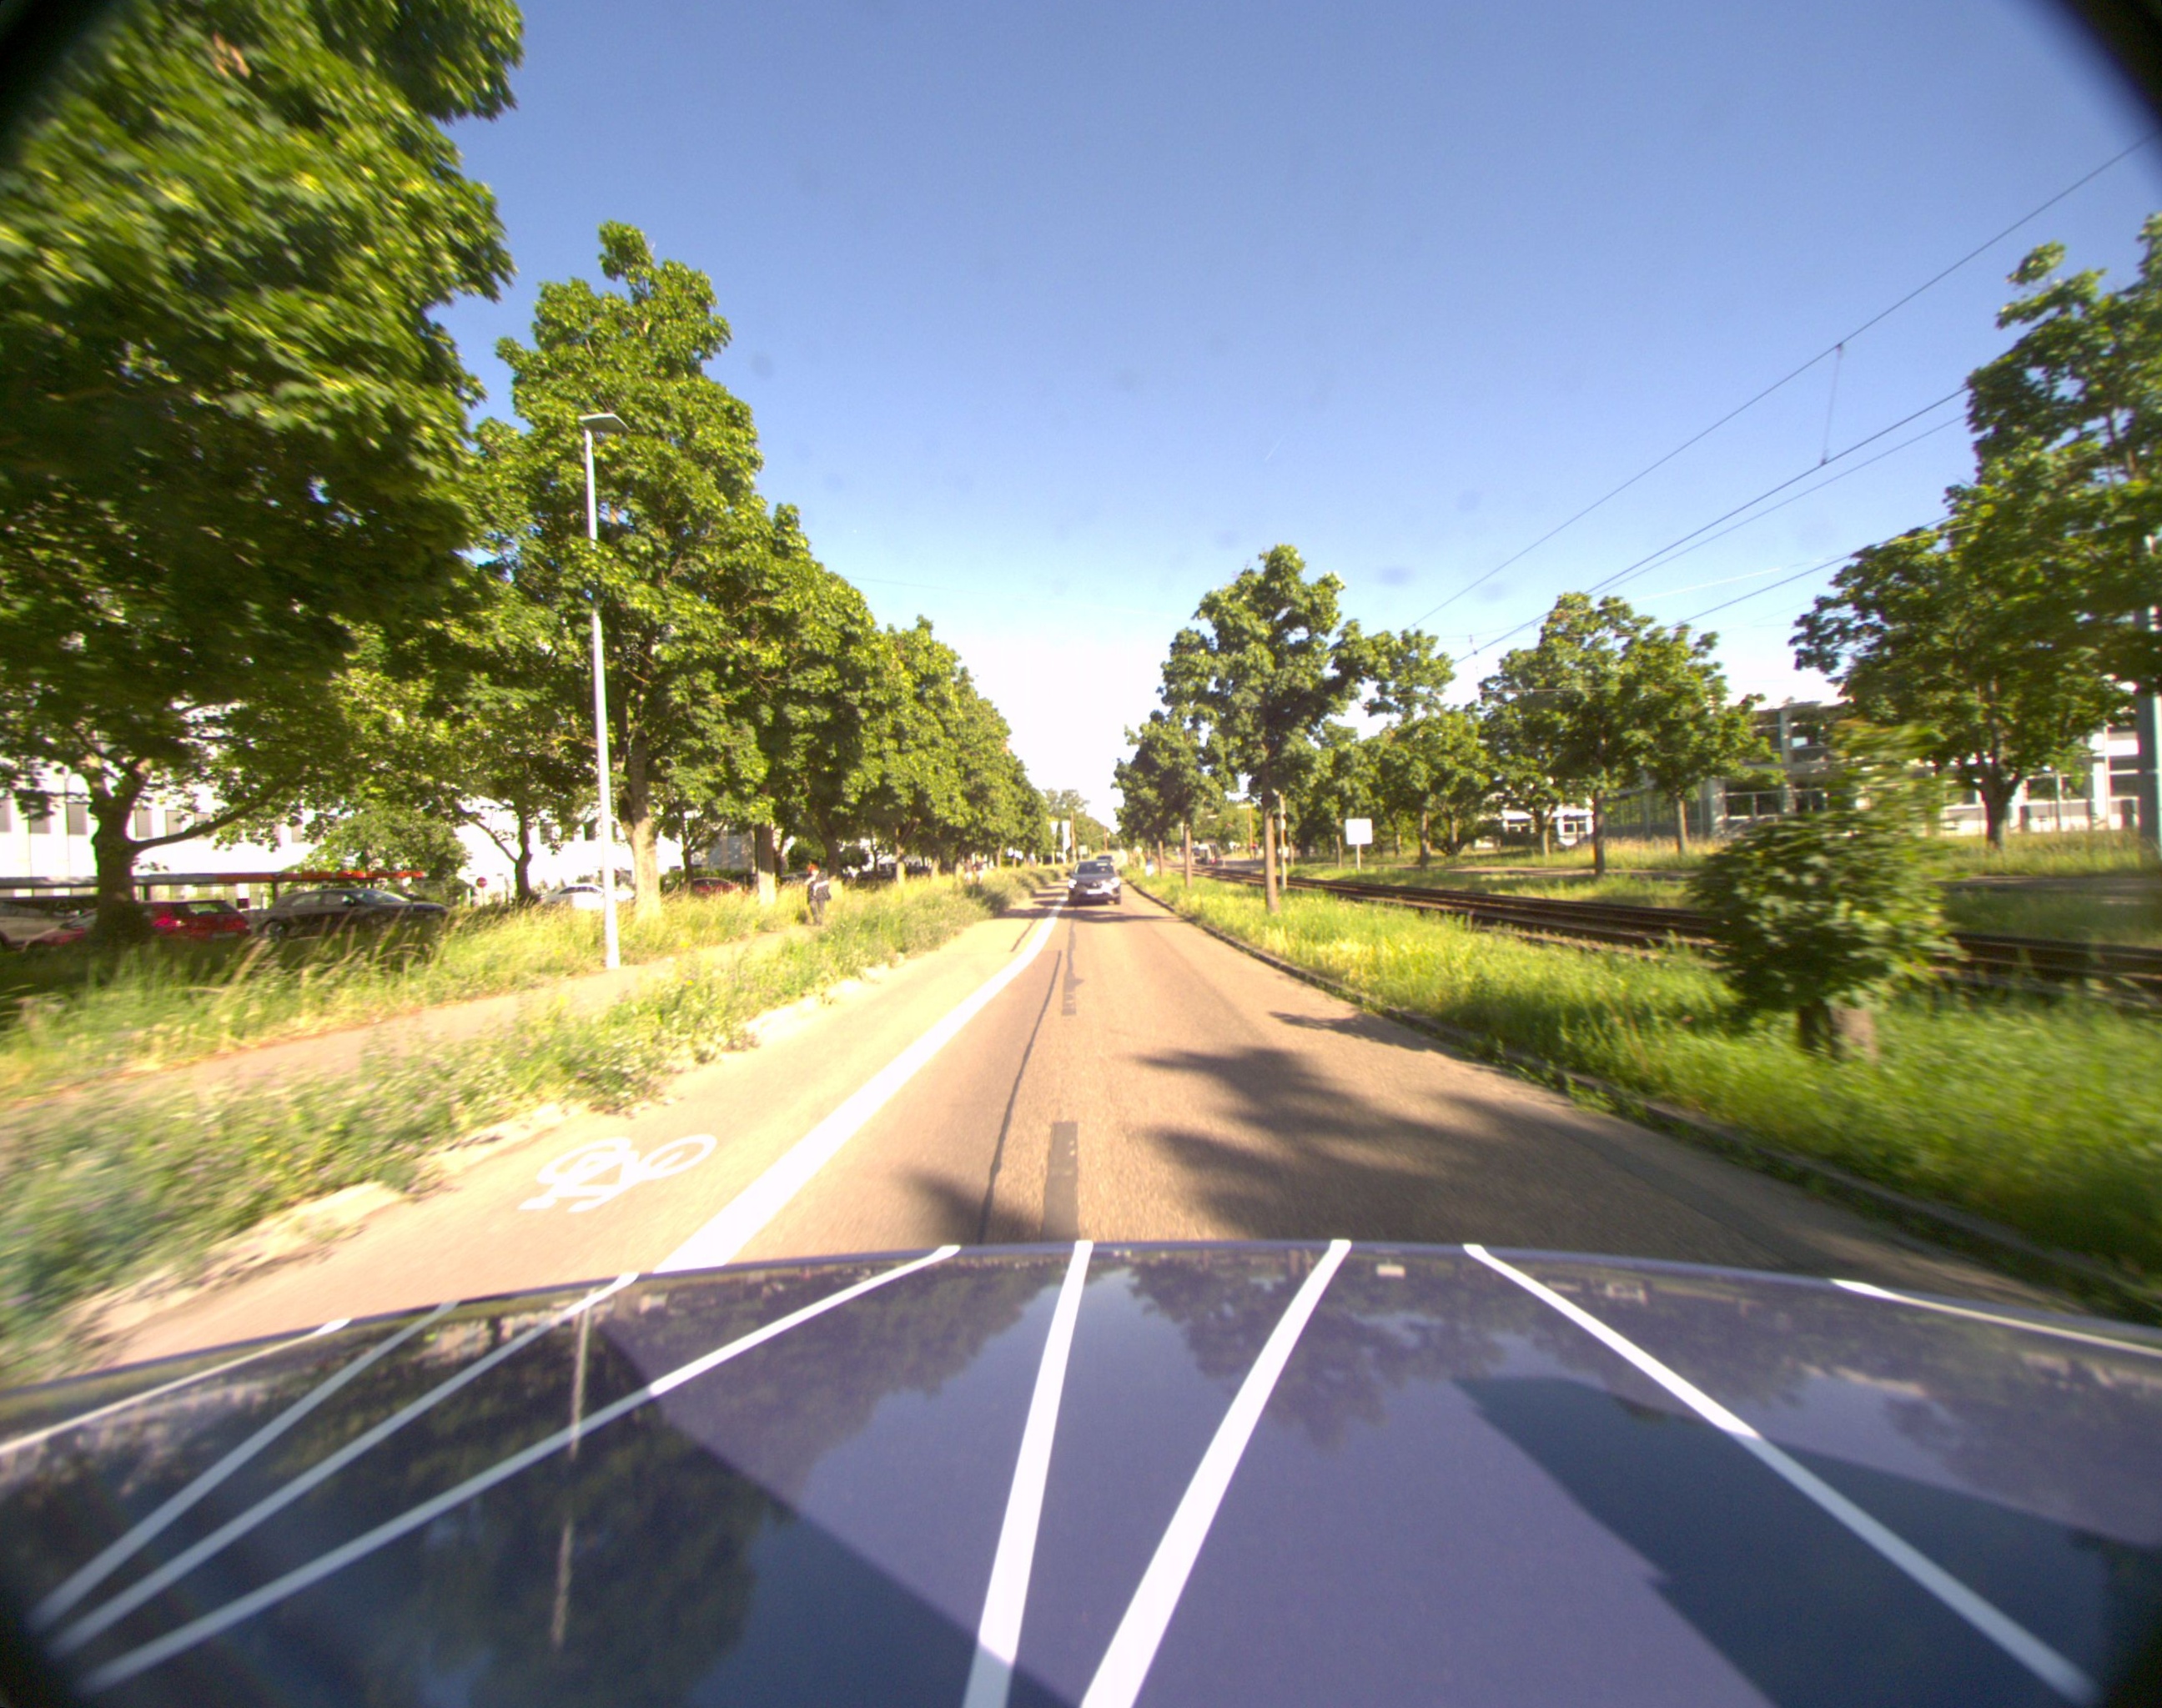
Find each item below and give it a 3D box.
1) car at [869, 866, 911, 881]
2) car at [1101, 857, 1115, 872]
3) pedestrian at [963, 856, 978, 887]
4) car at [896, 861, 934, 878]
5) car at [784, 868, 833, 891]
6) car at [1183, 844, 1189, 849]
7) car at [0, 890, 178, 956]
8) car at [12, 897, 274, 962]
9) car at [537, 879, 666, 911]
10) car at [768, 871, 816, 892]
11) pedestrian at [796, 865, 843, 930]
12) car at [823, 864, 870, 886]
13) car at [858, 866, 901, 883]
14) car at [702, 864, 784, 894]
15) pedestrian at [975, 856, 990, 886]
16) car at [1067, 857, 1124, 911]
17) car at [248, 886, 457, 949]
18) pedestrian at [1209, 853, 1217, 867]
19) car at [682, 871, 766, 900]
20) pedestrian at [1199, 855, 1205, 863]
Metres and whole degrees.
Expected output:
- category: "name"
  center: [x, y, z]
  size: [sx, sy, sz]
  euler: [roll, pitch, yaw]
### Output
- category: "car"
  center: [-20.719, 2.140, 82.364]
  size: [4.537, 1.440, 1.851]
  euler: [-3, 0, 37]
- category: "car"
  center: [3.288, 1.234, 92.043]
  size: [1.555, 1.764, 3.457]
  euler: [-2, 0, 1]
- category: "pedestrian"
  center: [-7.212, 1.128, 49.484]
  size: [0.709, 1.919, 0.817]
  euler: [-3, 0, 5]
- category: "car"
  center: [-20.349, 1.888, 93.119]
  size: [2.084, 1.865, 5.173]
  euler: [-3, 0, -43]
- category: "car"
  center: [-21.148, 1.961, 58.888]
  size: [3.977, 1.629, 1.727]
  euler: [-3, 0, 41]
- category: "car"
  center: [34.342, -2.495, 248.911]
  size: [1.701, 1.575, 3.457]
  euler: [-2, 0, 1]
- category: "car"
  center: [-34.357, 2.332, 25.896]
  size: [4.761, 1.938, 1.974]
  euler: [-2, 0, 1]
- category: "car"
  center: [-22.639, 1.800, 18.437]
  size: [4.301, 1.316, 1.941]
  euler: [-2, -1, 6]
- category: "car"
  center: [-21.818, 1.848, 34.707]
  size: [4.710, 1.263, 1.807]
  euler: [-2, -1, -1]
- category: "car"
  center: [-21.086, 2.024, 55.386]
  size: [3.977, 1.333, 1.712]
  euler: [-3, 0, 44]
- category: "pedestrian"
  center: [-6.608, 1.088, 19.232]
  size: [0.826, 1.560, 0.762]
  euler: [-3, 0, 2]
- category: "car"
  center: [-20.865, 1.907, 67.502]
  size: [1.922, 1.741, 5.442]
  euler: [-3, 0, -41]
- category: "car"
  center: [-20.960, 2.152, 78.899]
  size: [4.537, 1.506, 1.851]
  euler: [-3, 0, 37]
- category: "car"
  center: [-21.459, 1.559, 48.374]
  size: [4.349, 1.690, 1.765]
  euler: [-2, 0, -8]
- category: "pedestrian"
  center: [-6.411, 1.090, 49.520]
  size: [0.709, 1.906, 0.817]
  euler: [-3, 0, 2]
- category: "car"
  center: [0.513, 0.973, 26.581]
  size: [1.750, 1.585, 4.246]
  euler: [-3, 1, 1]
- category: "car"
  center: [-22.162, 1.890, 23.259]
  size: [4.403, 1.587, 1.883]
  euler: [-2, 0, -2]
- category: "pedestrian"
  center: [16.694, 0.786, 96.235]
  size: [0.786, 1.741, 0.781]
  euler: [-3, 0, 1]
- category: "car"
  center: [-21.583, 1.883, 46.059]
  size: [4.244, 1.527, 1.765]
  euler: [-2, 0, -8]
- category: "pedestrian"
  center: [17.687, 0.755, 110.831]
  size: [0.650, 1.241, 0.681]
  euler: [0, 0, -6]
